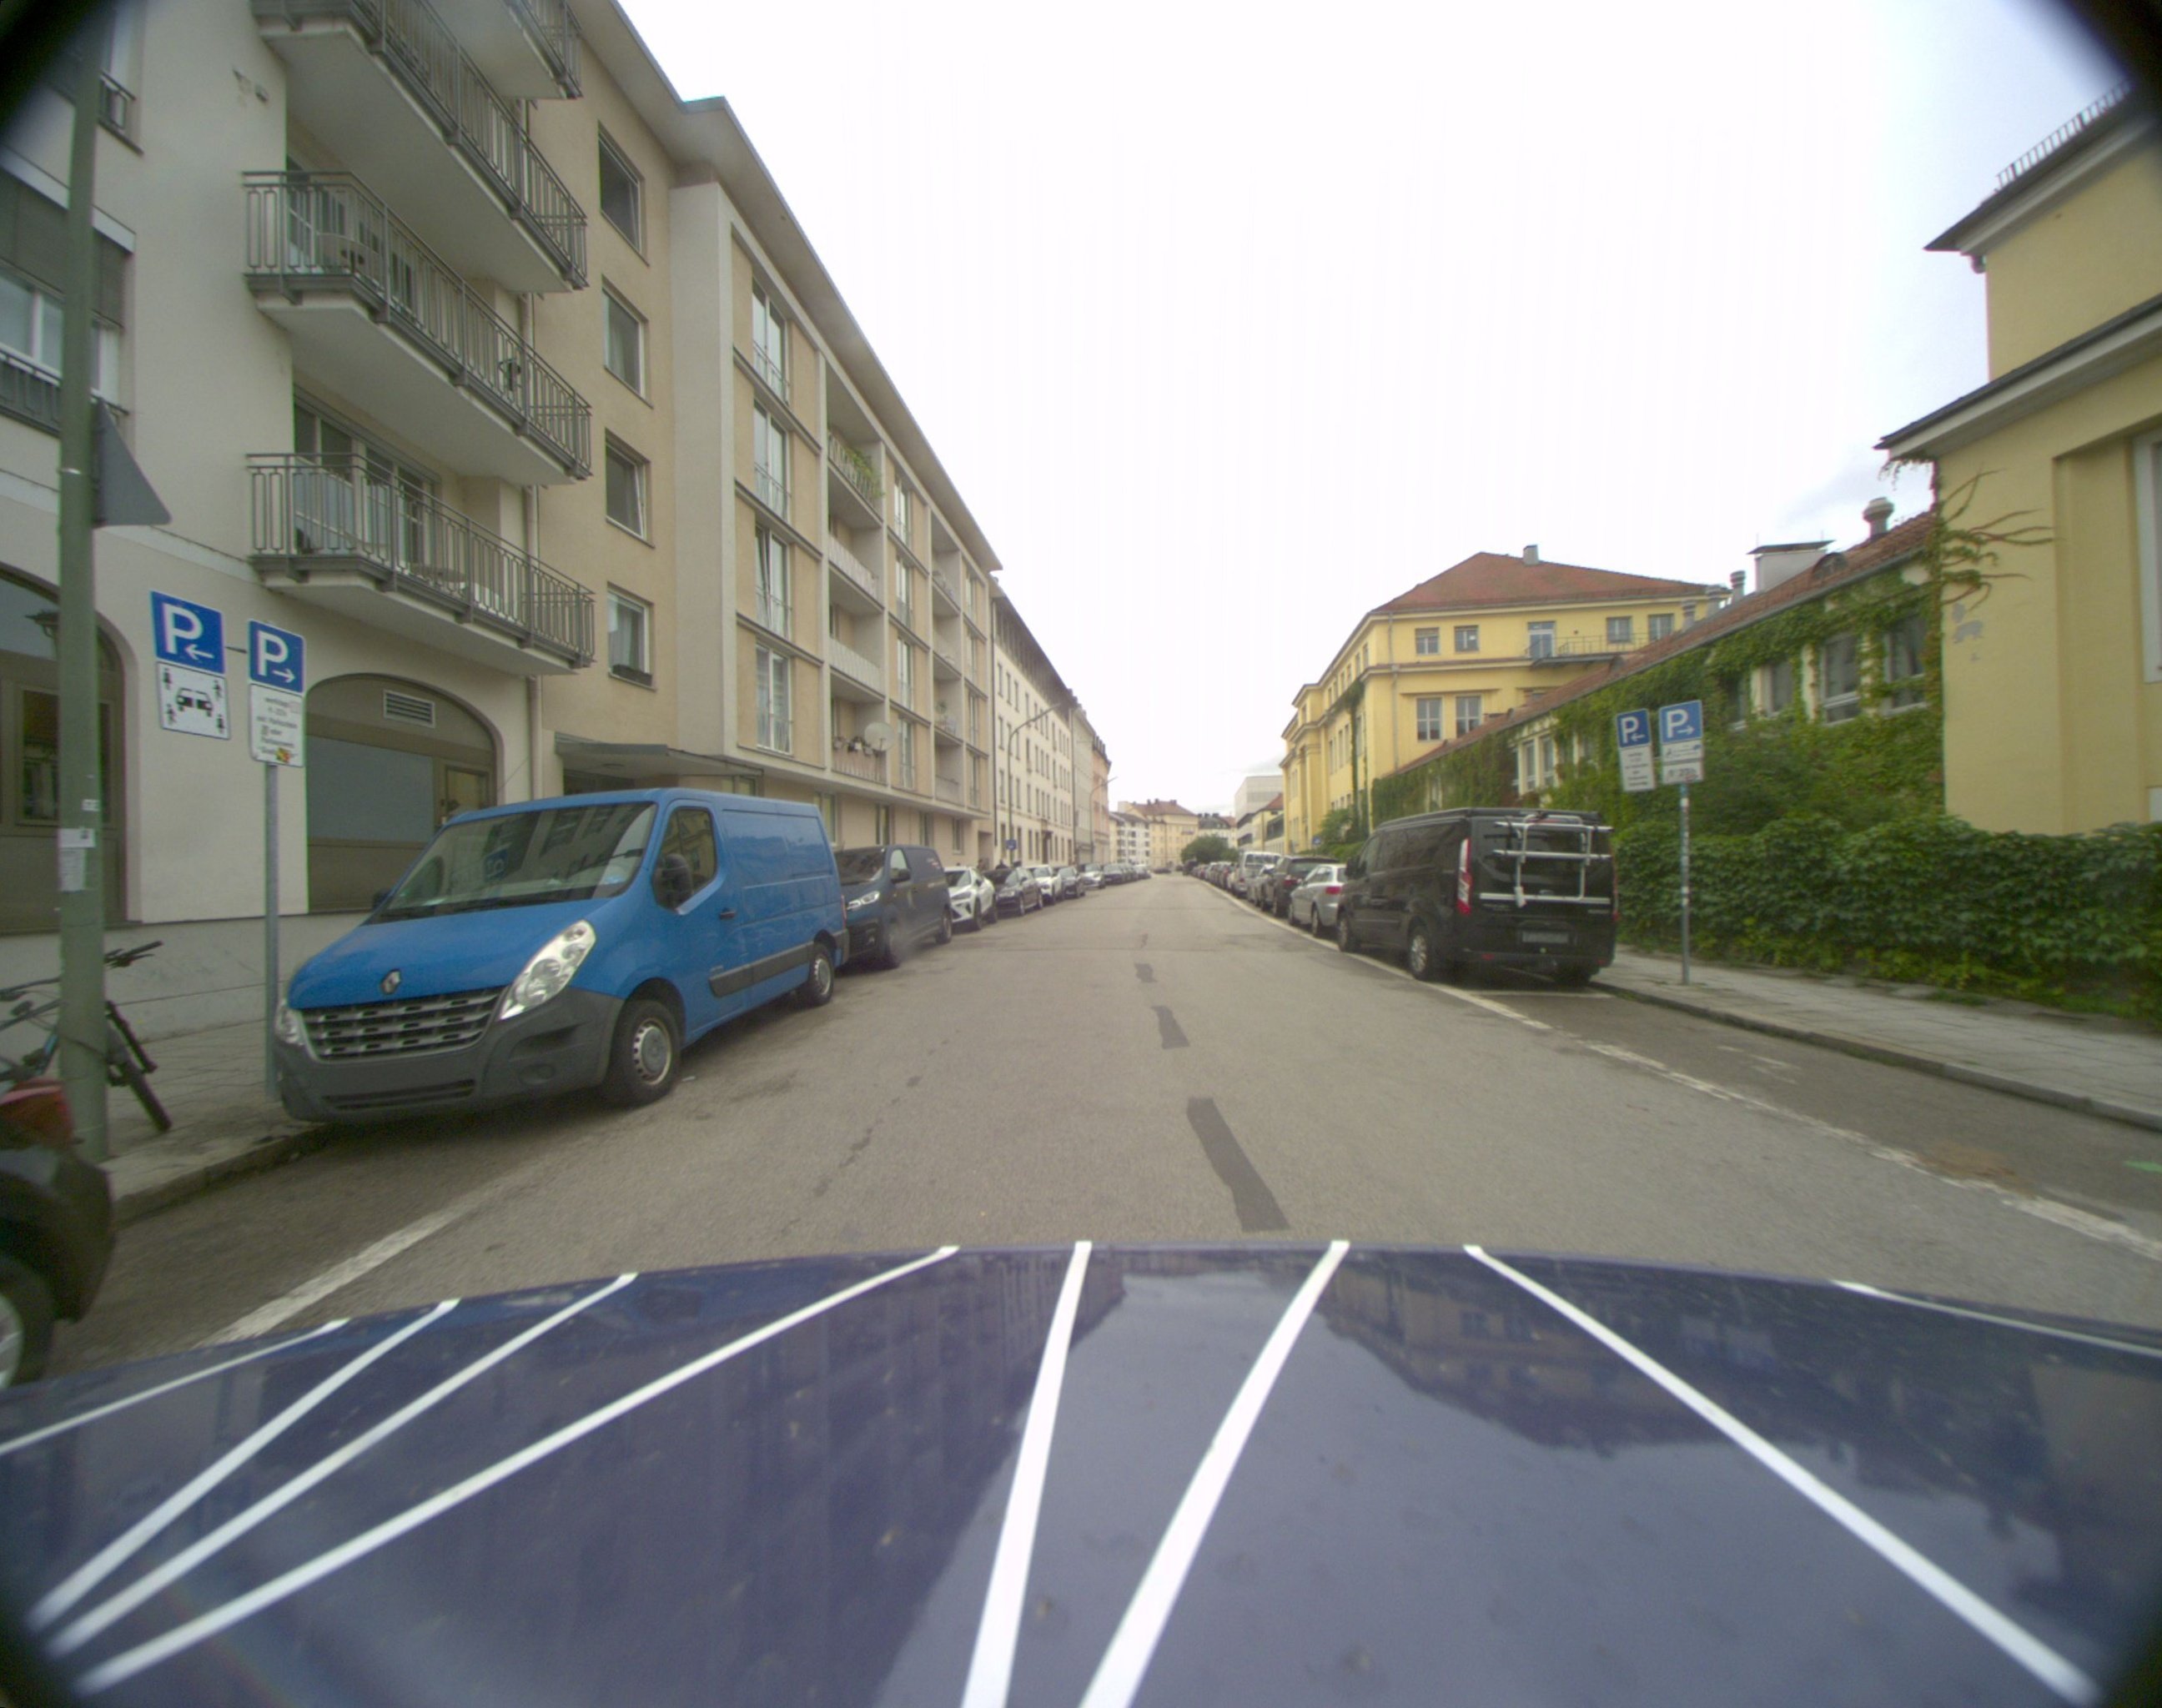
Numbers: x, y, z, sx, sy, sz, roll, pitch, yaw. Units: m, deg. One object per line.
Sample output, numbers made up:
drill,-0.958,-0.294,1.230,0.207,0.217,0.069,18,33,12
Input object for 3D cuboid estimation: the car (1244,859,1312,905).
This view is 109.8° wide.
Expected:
car,6.627,0.897,25.979,1.704,1.414,4.427,-1,0,7

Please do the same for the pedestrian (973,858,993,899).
pedestrian,-3.979,0.981,30.893,0.597,1.644,0.631,-1,0,8

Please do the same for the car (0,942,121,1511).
car,-3.748,1.090,0.284,1.708,1.509,3.957,-5,0,-3

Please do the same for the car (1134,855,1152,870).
car,7.732,1.086,94.538,1.844,1.775,4.898,-3,-1,8

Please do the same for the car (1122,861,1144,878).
car,4.912,1.430,71.905,1.859,1.535,4.158,-1,0,6

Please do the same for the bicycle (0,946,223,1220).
bicycle,-5.549,1.162,3.886,0.667,1.181,1.588,-1,0,-10

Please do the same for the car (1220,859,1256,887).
car,8.556,1.006,41.723,1.581,1.447,3.906,-1,0,7

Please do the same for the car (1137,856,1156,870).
car,7.257,1.019,84.107,1.695,1.442,4.086,-1,0,9

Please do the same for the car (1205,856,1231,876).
car,11.753,1.005,65.437,1.683,1.624,4.358,-2,0,4

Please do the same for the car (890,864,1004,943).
car,-3.054,1.080,18.197,1.743,1.528,4.274,-4,0,2

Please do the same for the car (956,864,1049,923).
car,-2.286,1.132,23.317,1.742,1.490,4.498,-3,0,8

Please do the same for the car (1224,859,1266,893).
car,7.894,1.027,36.861,1.581,1.484,3.732,2,0,7

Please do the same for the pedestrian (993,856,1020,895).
pedestrian,-3.241,0.934,33.108,0.900,1.678,1.320,0,0,6

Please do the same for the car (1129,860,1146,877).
car,5.812,1.457,77.743,1.696,1.574,4.085,-1,0,5

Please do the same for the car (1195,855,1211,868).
car,14.994,0.906,93.256,1.678,1.557,3.999,-1,0,5

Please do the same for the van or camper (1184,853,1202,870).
van or camper,19.048,1.319,129.355,2.141,2.791,5.573,0,-1,0

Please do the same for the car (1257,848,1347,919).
car,5.910,0.740,20.776,1.623,1.719,4.427,-1,0,6

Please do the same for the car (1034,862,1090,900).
car,-0.765,1.125,33.124,1.799,1.412,4.485,-3,0,6

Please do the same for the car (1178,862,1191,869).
car,30.057,3.298,220.613,3.994,1.848,2.002,0,-1,8

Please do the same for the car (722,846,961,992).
car,-3.544,0.862,12.453,1.969,1.805,4.937,-4,0,4

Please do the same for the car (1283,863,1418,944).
car,5.299,0.900,15.474,1.623,1.370,4.073,-1,0,5

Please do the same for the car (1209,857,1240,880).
car,10.019,0.990,53.233,1.785,1.529,4.197,-1,0,6

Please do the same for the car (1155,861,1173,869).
car,20.291,2.686,185.210,4.245,1.848,2.001,0,-1,2

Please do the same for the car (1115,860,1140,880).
car,3.943,1.295,63.875,1.859,1.535,4.818,-1,0,6

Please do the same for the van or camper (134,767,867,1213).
van or camper,-3.863,0.739,6.763,2.065,2.218,5.439,-5,0,2

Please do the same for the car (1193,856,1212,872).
car,11.913,0.996,74.735,1.683,1.487,3.988,1,0,7

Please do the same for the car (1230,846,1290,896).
car,7.295,0.664,31.363,1.997,1.864,4.761,-1,0,8

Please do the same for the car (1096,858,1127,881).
car,2.205,1.072,54.001,1.859,1.535,4.818,-1,0,6

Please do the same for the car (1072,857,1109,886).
car,0.591,0.972,43.973,1.675,1.526,3.883,-1,0,8

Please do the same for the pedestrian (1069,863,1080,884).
pedestrian,-0.500,1.535,60.611,0.735,1.616,0.828,0,0,8

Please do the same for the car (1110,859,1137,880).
car,3.320,1.182,59.040,1.859,1.535,4.158,-1,0,6

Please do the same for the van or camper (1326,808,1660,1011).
van or camper,5.055,0.579,10.295,1.965,2.053,4.754,2,0,1

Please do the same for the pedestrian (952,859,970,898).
pedestrian,-4.959,1.008,31.408,0.532,1.575,0.560,-1,0,8

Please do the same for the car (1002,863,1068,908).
car,-1.634,1.119,28.343,1.742,1.490,4.221,-1,0,6
